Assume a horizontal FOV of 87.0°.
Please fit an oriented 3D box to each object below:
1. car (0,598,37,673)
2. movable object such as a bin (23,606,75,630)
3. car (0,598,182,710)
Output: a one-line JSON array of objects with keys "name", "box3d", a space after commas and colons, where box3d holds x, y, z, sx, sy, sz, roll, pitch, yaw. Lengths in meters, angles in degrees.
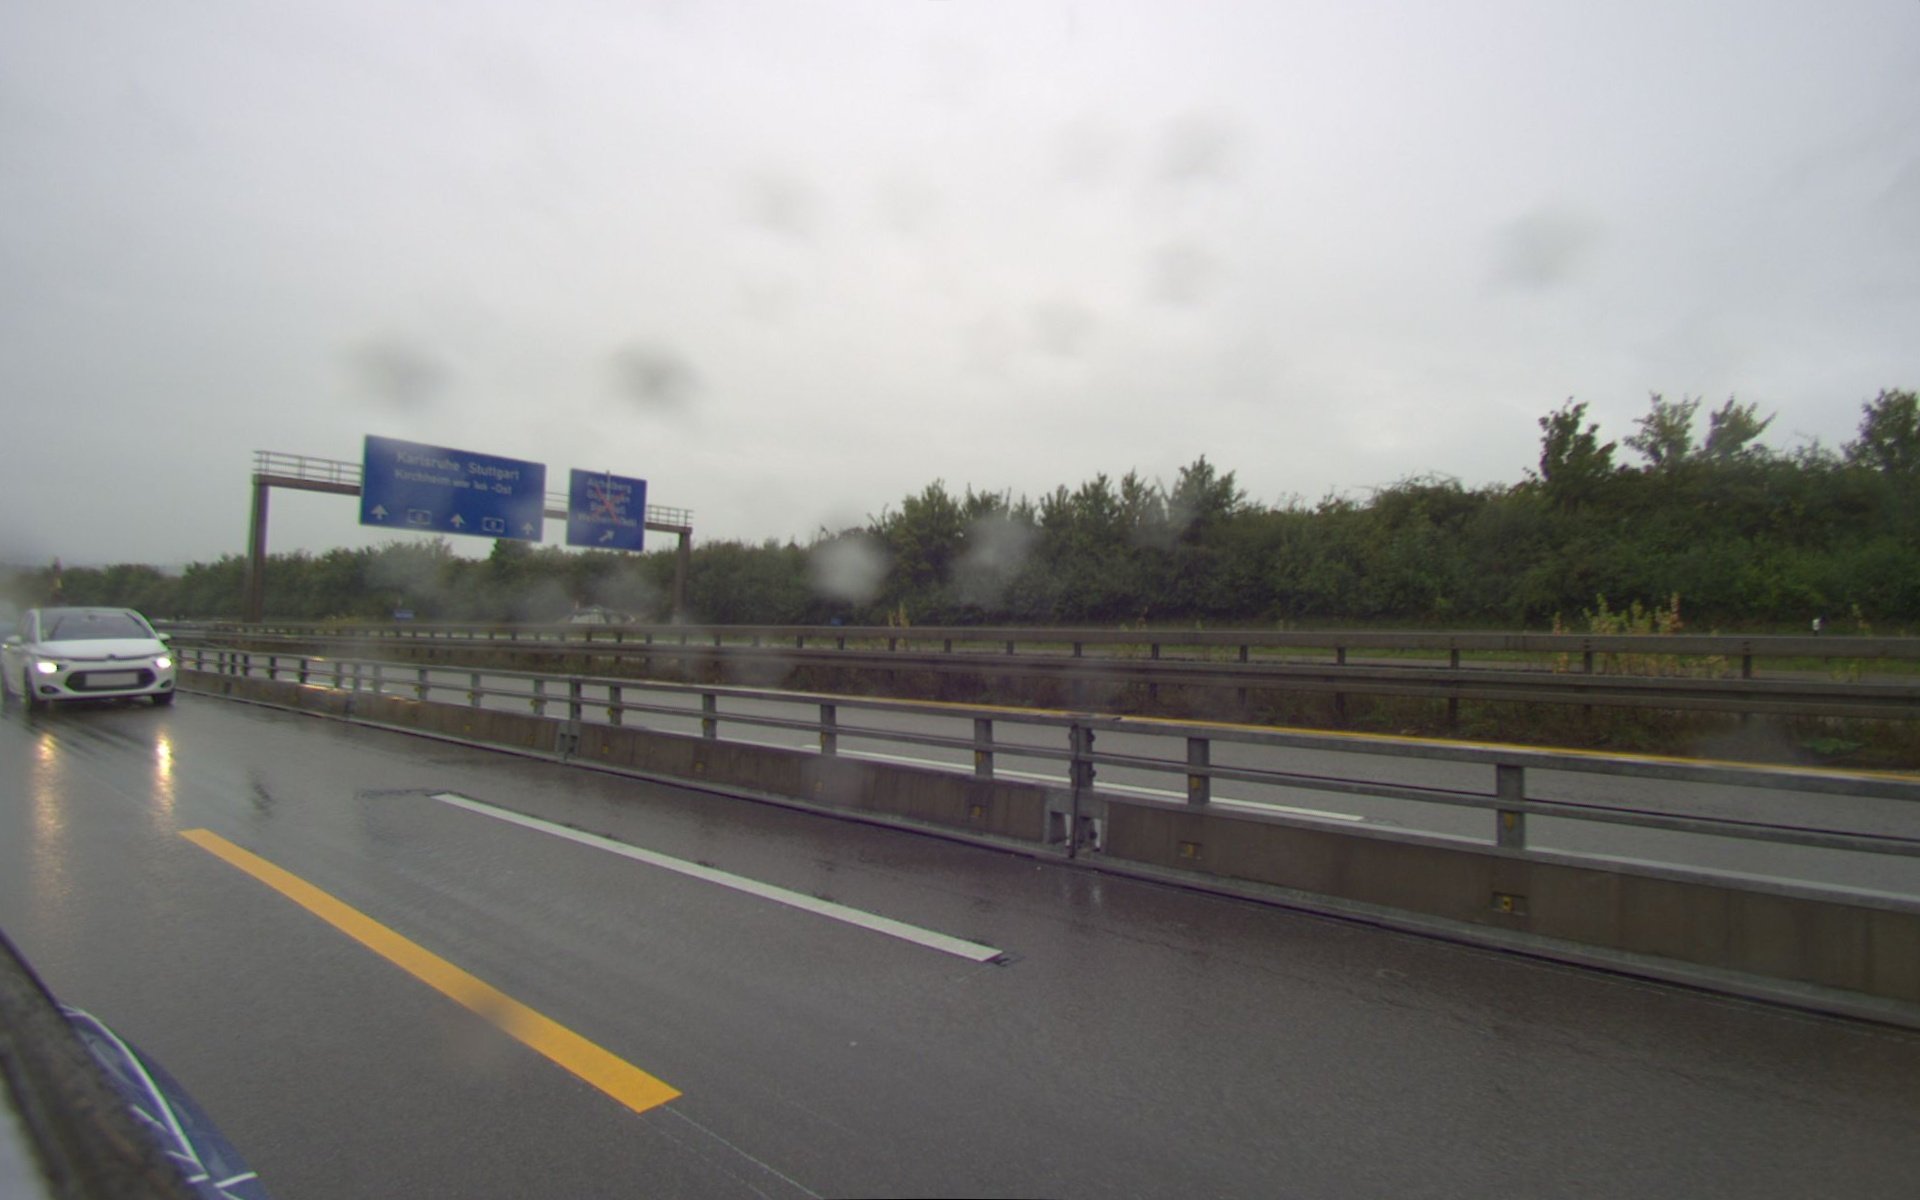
[{"name": "car", "box3d": [-28.240, 0.992, 28.933, 5.562, 2.029, 2.182, -1, 0, 42]}, {"name": "movable object such as a bin", "box3d": [-111.269, 2.145, 123.566, 6.321, 2.819, 3.729, -1, 0, 38]}, {"name": "car", "box3d": [-14.562, 0.854, 16.759, 4.308, 1.608, 1.952, -3, -2, 42]}]
